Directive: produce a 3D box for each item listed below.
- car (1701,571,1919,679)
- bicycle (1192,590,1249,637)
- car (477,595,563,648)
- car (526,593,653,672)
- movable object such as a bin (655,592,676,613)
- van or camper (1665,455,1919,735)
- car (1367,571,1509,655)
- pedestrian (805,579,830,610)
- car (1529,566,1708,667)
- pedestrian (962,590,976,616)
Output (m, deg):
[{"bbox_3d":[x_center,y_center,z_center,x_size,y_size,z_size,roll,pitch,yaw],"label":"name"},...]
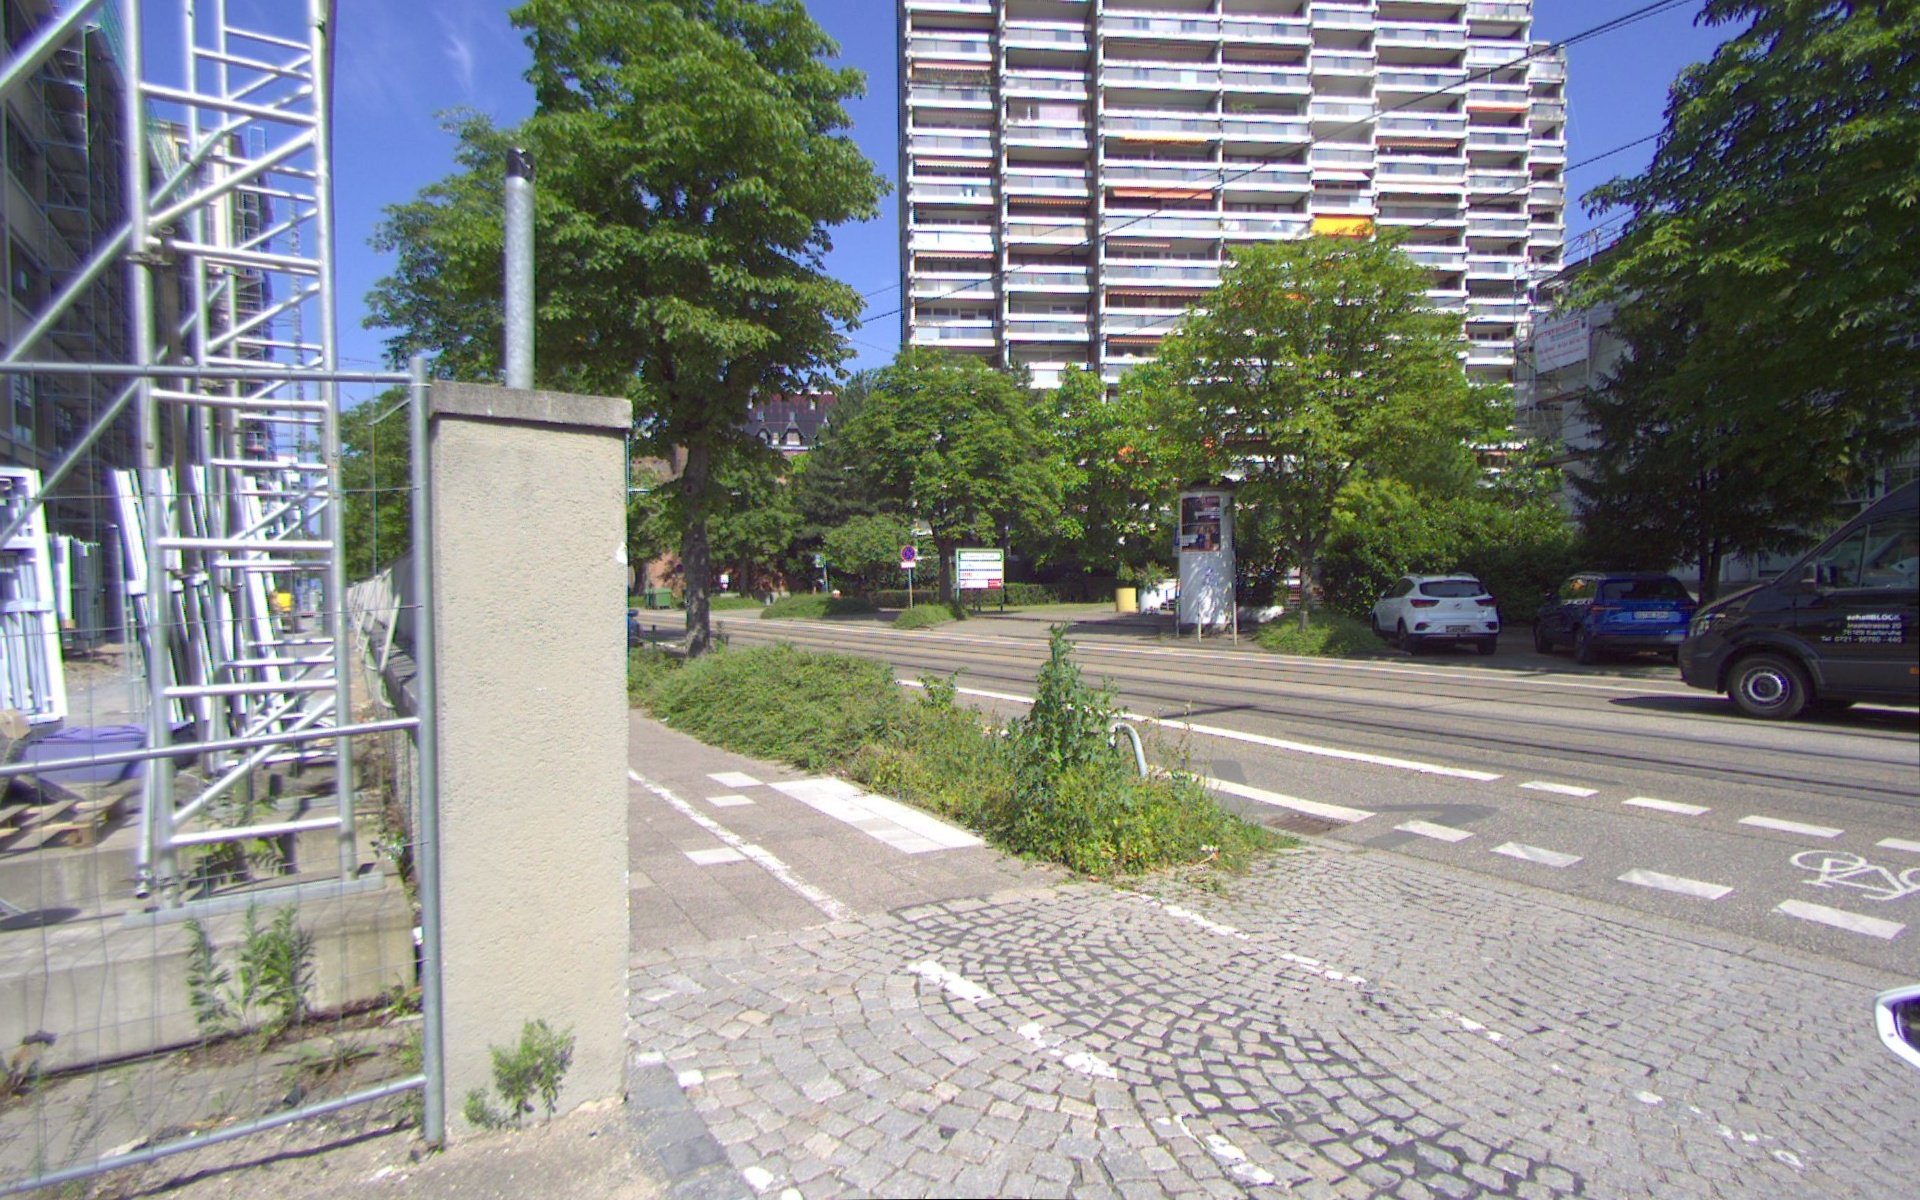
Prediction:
[{"bbox_3d":[13.729,0.342,16.216,1.544,1.551,3.460,0,1,12],"label":"car"},{"bbox_3d":[7.449,0.365,28.782,0.542,1.326,1.604,-1,1,-37],"label":"bicycle"},{"bbox_3d":[-13.217,0.585,30.041,1.801,1.473,3.965,-1,1,-32],"label":"car"},{"bbox_3d":[-8.112,0.624,21.777,1.801,1.514,4.072,-1,1,-32],"label":"car"},{"bbox_3d":[-20.868,0.154,71.146,1.249,1.473,1.072,0,1,-27],"label":"movable object such as a bin"},{"bbox_3d":[10.332,-0.053,9.391,2.028,2.655,5.810,-1,1,-32],"label":"van or camper"},{"bbox_3d":[10.146,0.228,21.638,1.783,1.628,3.947,0,1,10],"label":"car"},{"bbox_3d":[-8.586,-0.342,60.628,1.049,1.822,1.253,0,1,-33],"label":"pedestrian"},{"bbox_3d":[12.149,0.231,18.809,1.745,1.644,3.945,-1,2,17],"label":"car"},{"bbox_3d":[0.396,0.132,44.624,0.525,1.170,0.700,-1,1,-10],"label":"pedestrian"}]
